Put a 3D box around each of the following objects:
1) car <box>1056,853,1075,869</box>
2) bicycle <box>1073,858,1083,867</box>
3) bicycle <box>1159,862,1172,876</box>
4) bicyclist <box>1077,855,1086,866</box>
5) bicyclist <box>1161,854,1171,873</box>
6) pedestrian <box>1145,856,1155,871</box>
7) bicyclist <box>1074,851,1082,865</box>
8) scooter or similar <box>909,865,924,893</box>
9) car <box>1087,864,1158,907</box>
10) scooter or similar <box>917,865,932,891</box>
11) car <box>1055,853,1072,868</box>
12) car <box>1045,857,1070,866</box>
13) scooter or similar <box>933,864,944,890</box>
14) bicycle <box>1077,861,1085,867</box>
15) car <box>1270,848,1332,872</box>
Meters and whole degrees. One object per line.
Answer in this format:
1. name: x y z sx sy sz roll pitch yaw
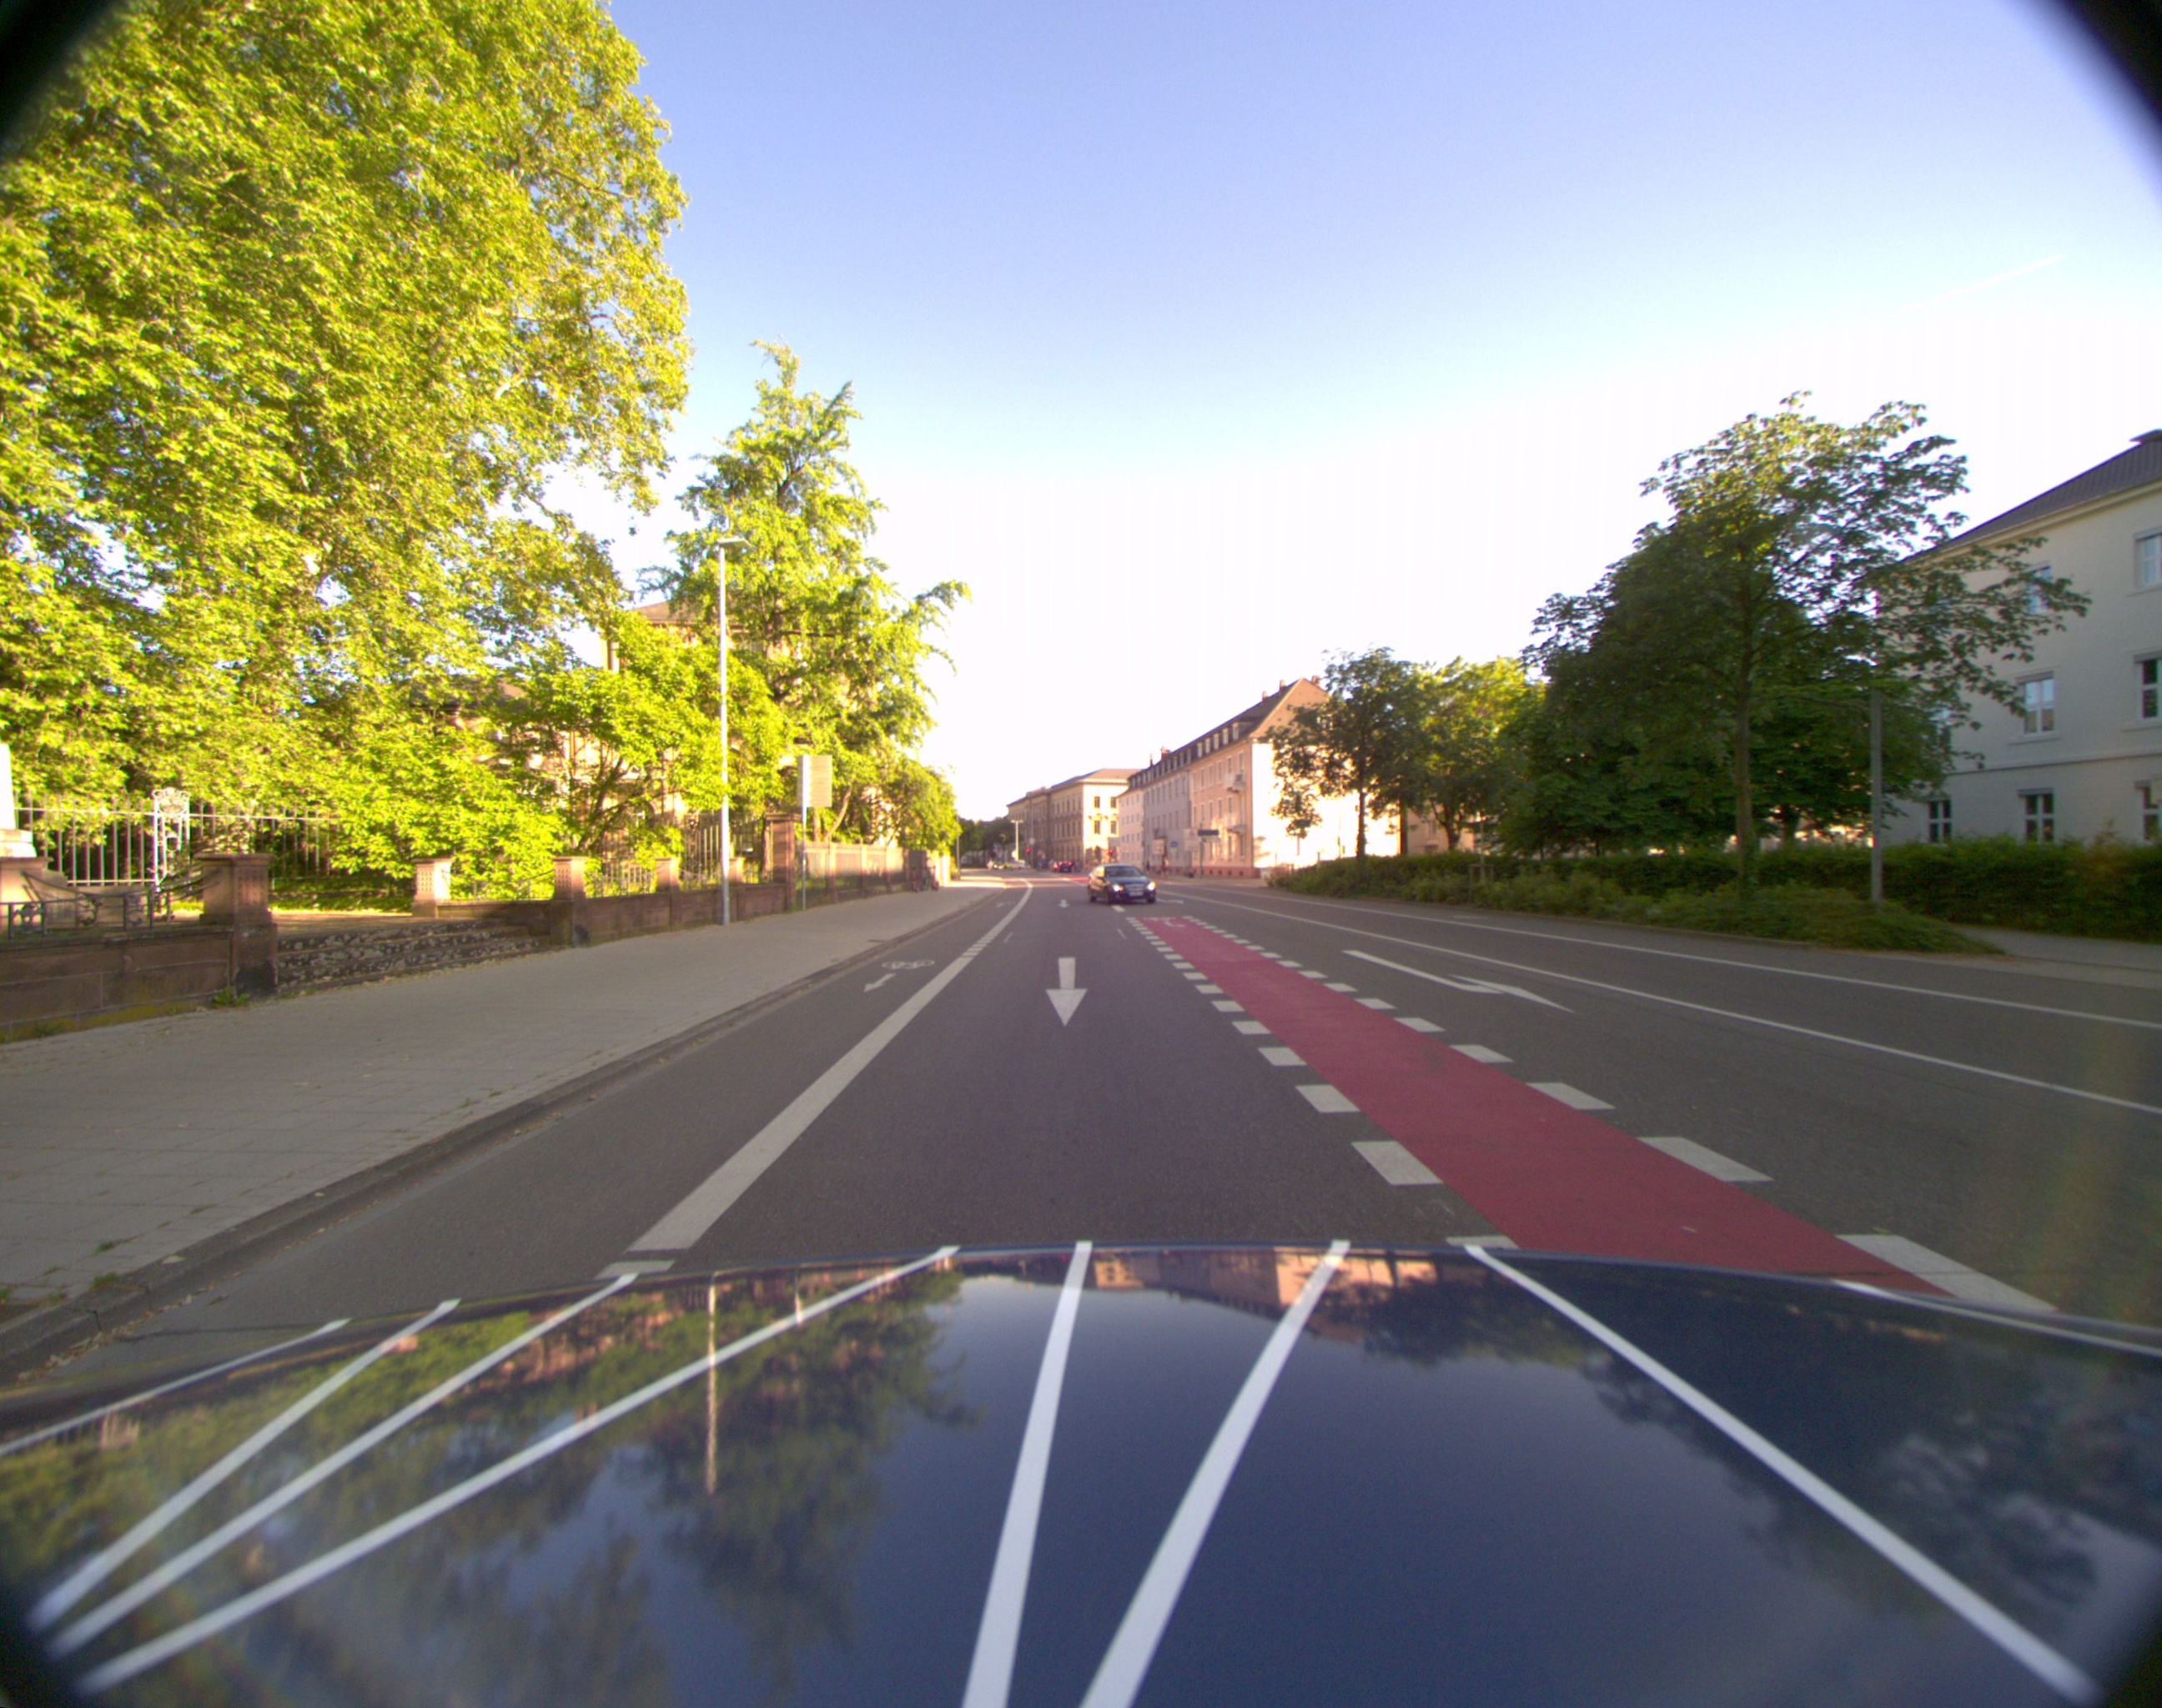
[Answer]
1. car: -1.988 0.831 96.155 1.999 2.002 3.998 0 0 -5
2. bicycle: -0.428 1.211 108.826 0.956 1.216 2.776 0 0 -9
3. bicycle: 7.008 1.236 62.800 0.697 1.152 2.245 1 0 -3
4. bicyclist: 0.043 0.910 104.377 1.026 1.481 0.870 0 0 -9
5. bicyclist: 7.022 0.770 62.598 0.691 1.553 0.838 1 0 -3
6. pedestrian: 8.652 1.176 95.117 0.949 1.894 1.062 -2 1 -7
7. bicyclist: -0.450 0.557 108.867 0.956 2.002 1.307 0 0 -9
8. scooter or similar: -7.551 1.130 34.849 0.577 1.246 1.486 0 0 -15
9. car: 1.431 1.071 27.753 1.710 1.397 4.260 0 0 -10
10. scooter or similar: -7.564 1.145 36.701 0.576 1.177 1.487 0 0 -7
11. car: -2.398 0.877 102.075 1.999 2.002 3.998 0 0 -5
12. car: -3.934 1.233 126.657 3.695 1.478 1.640 -2 1 15
13. scooter or similar: -7.091 1.135 37.783 0.517 1.233 1.521 0 0 -11
14. bicycle: 0.048 1.363 104.387 0.663 0.907 2.861 0 0 -9
15. car: 16.663 0.411 57.570 4.000 1.652 1.998 -2 1 -9
